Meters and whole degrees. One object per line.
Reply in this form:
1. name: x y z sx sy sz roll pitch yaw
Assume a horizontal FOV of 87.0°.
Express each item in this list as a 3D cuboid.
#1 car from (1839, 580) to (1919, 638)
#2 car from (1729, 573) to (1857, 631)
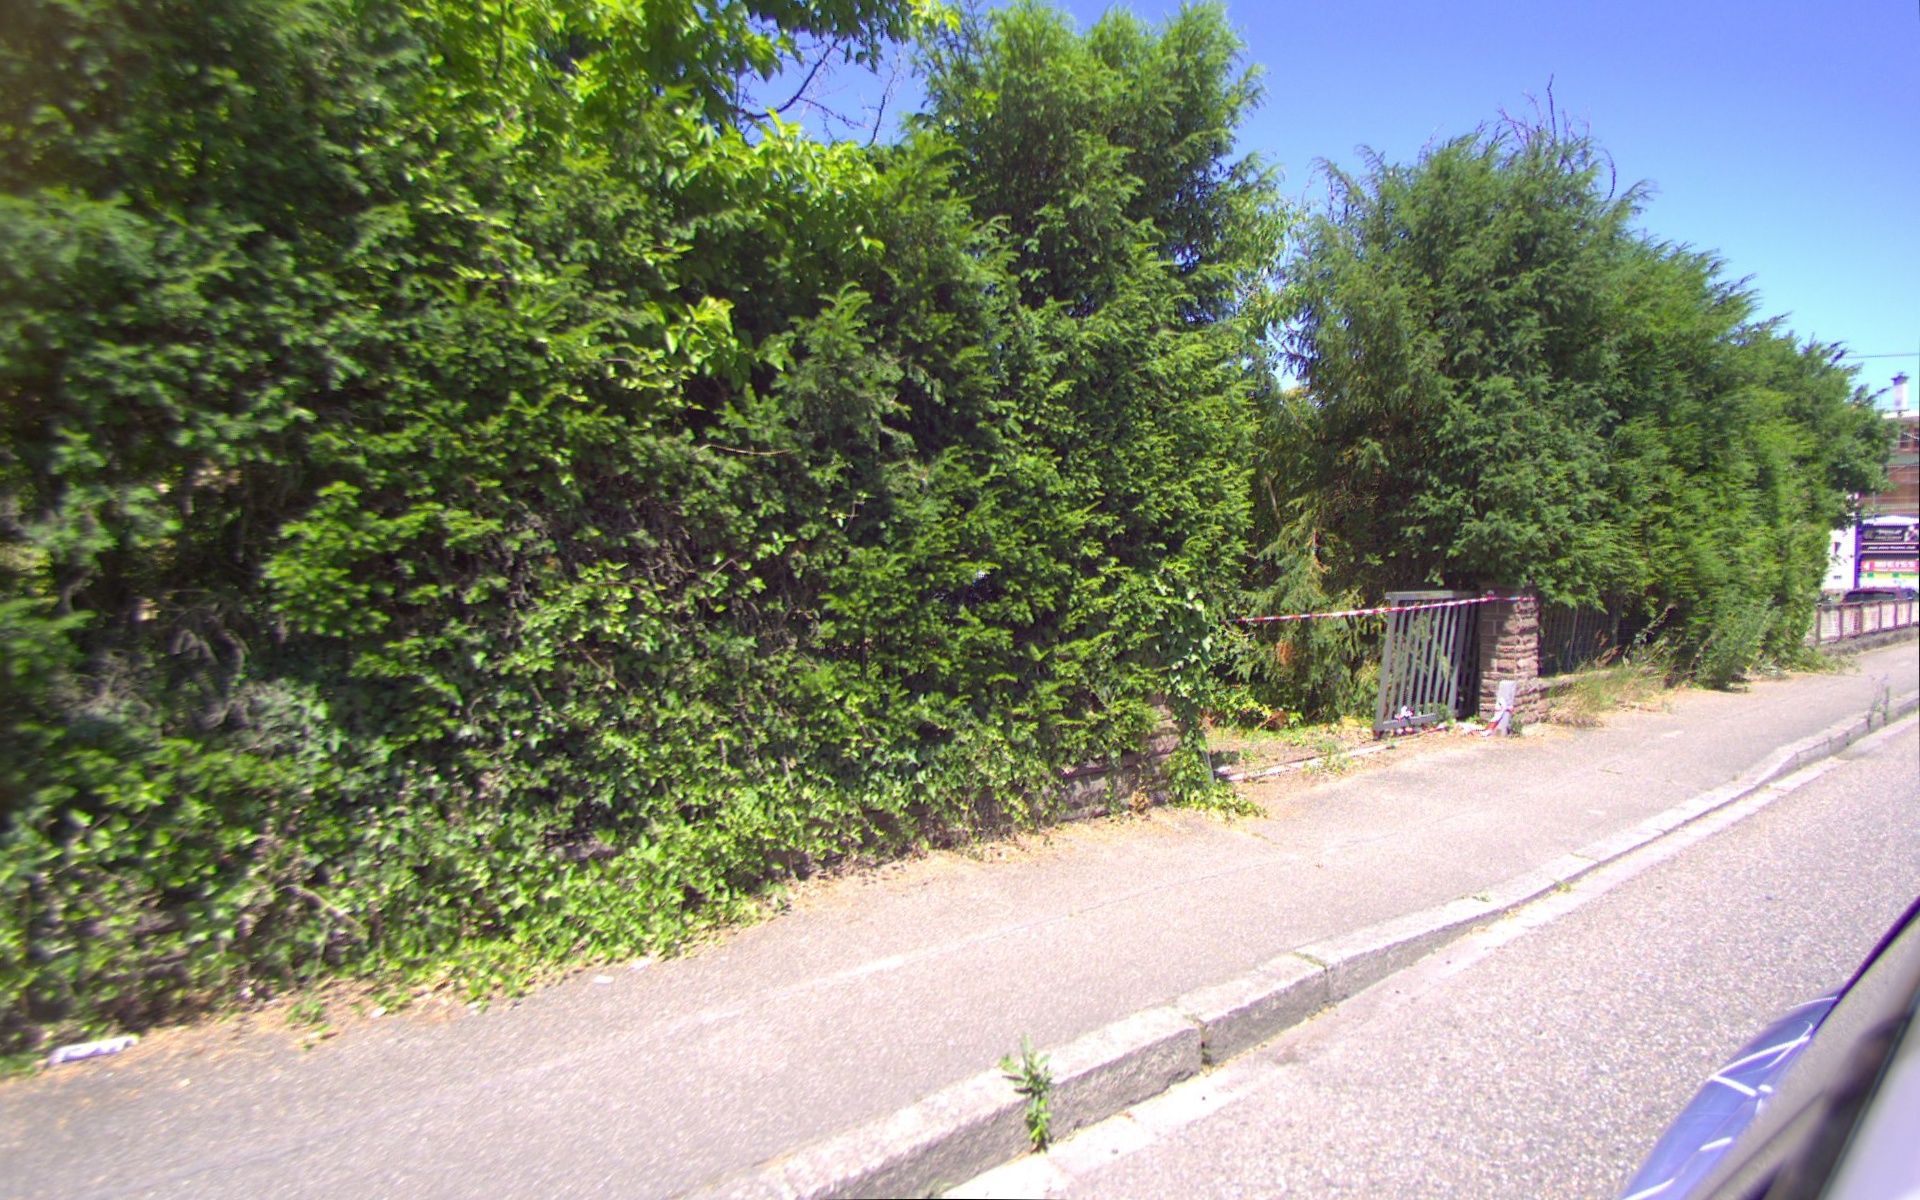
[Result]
1. car: 27.578 0.206 29.600 3.764 1.542 1.719 -1 2 -31
2. car: 26.088 0.025 31.663 4.372 1.686 1.718 -1 0 -32
